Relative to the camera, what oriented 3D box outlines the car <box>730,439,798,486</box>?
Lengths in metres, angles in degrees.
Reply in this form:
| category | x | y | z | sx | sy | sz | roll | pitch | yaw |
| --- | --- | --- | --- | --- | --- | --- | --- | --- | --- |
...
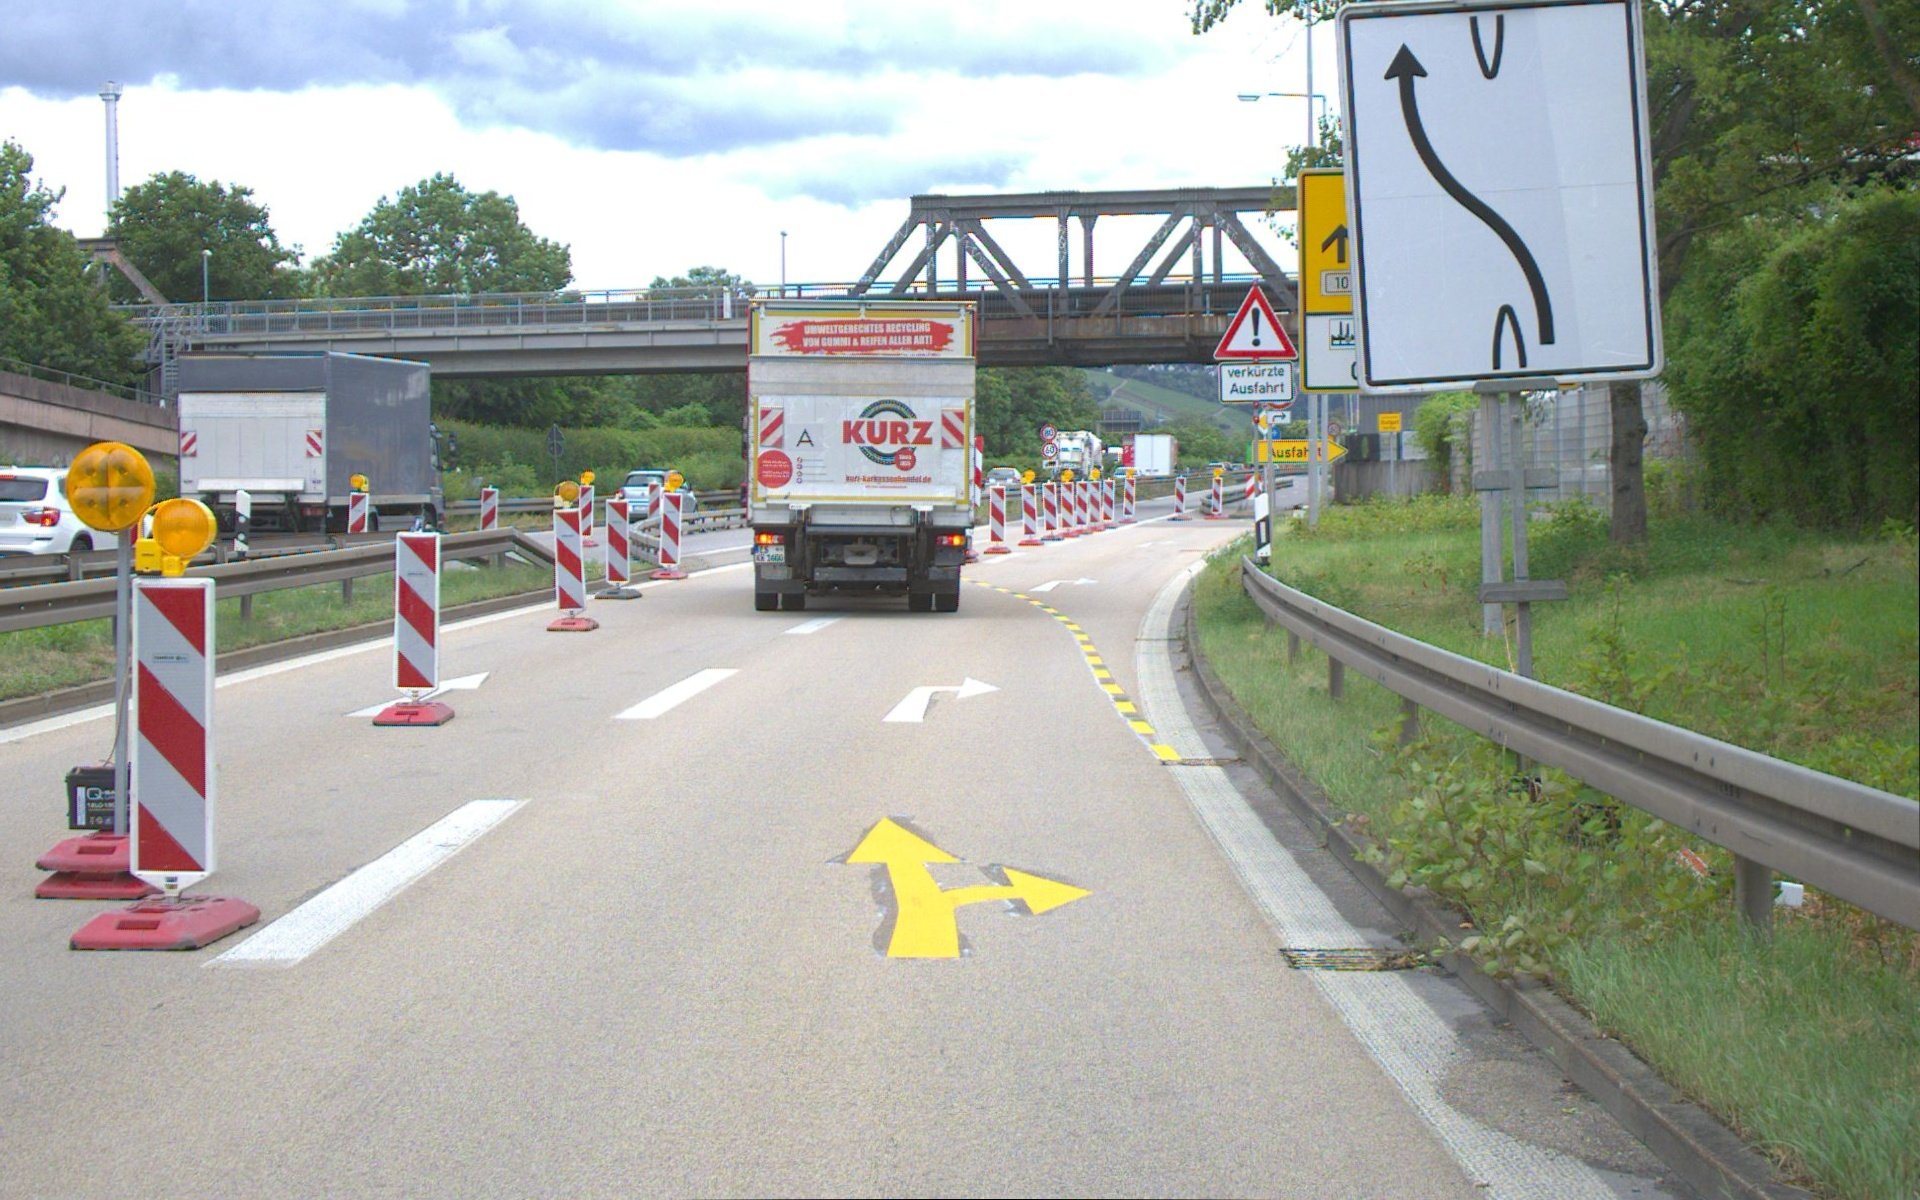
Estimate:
| category | x | y | z | sx | sy | sz | roll | pitch | yaw |
| --- | --- | --- | --- | --- | --- | --- | --- | --- | --- |
| car | -7.030 | -4.932 | 123.643 | 1.994 | 1.612 | 4.000 | 0 | 2 | 3 |

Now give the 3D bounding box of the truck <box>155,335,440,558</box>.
| category | x | y | z | sx | sy | sz | roll | pitch | yaw |
| --- | --- | --- | --- | --- | --- | --- | --- | --- | --- |
| truck | -11.423 | -2.612 | 60.025 | 3.051 | 3.643 | 7.395 | 0 | 2 | 4 |

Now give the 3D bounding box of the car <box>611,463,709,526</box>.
| category | x | y | z | sx | sy | sz | roll | pitch | yaw |
| --- | --- | --- | --- | --- | --- | --- | --- | --- | --- |
| car | -7.819 | -2.755 | 89.942 | 1.994 | 1.612 | 4.000 | 0 | 2 | 3 |

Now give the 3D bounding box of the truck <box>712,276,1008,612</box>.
| category | x | y | z | sx | sy | sz | roll | pitch | yaw |
| --- | --- | --- | --- | --- | --- | --- | --- | --- | --- |
| truck | -1.038 | -1.816 | 41.599 | 3.051 | 3.660 | 7.927 | 0 | 2 | 2 |

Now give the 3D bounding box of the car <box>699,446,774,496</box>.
| category | x | y | z | sx | sy | sz | roll | pitch | yaw |
| --- | --- | --- | --- | --- | --- | --- | --- | --- | --- |
| car | -7.446 | -4.306 | 114.816 | 1.994 | 1.612 | 4.000 | 0 | 2 | 3 |

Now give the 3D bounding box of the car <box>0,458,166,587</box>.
| category | x | y | z | sx | sy | sz | roll | pitch | yaw |
| --- | --- | --- | --- | --- | --- | --- | --- | --- | --- |
| car | -12.652 | -1.075 | 47.383 | 1.994 | 1.707 | 4.100 | 0 | 2 | 8 |

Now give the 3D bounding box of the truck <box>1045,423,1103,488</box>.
| category | x | y | z | sx | sy | sz | roll | pitch | yaw |
| --- | --- | --- | --- | --- | --- | --- | --- | --- | --- |
| truck | 6.970 | -8.763 | 209.319 | 3.287 | 3.839 | 7.664 | 0 | 2 | 3 |

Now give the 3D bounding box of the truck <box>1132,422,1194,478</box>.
| category | x | y | z | sx | sy | sz | roll | pitch | yaw |
| --- | --- | --- | --- | --- | --- | --- | --- | --- | --- |
| truck | 13.335 | -9.840 | 226.705 | 3.908 | 3.536 | 8.140 | 0 | 2 | 2 |
